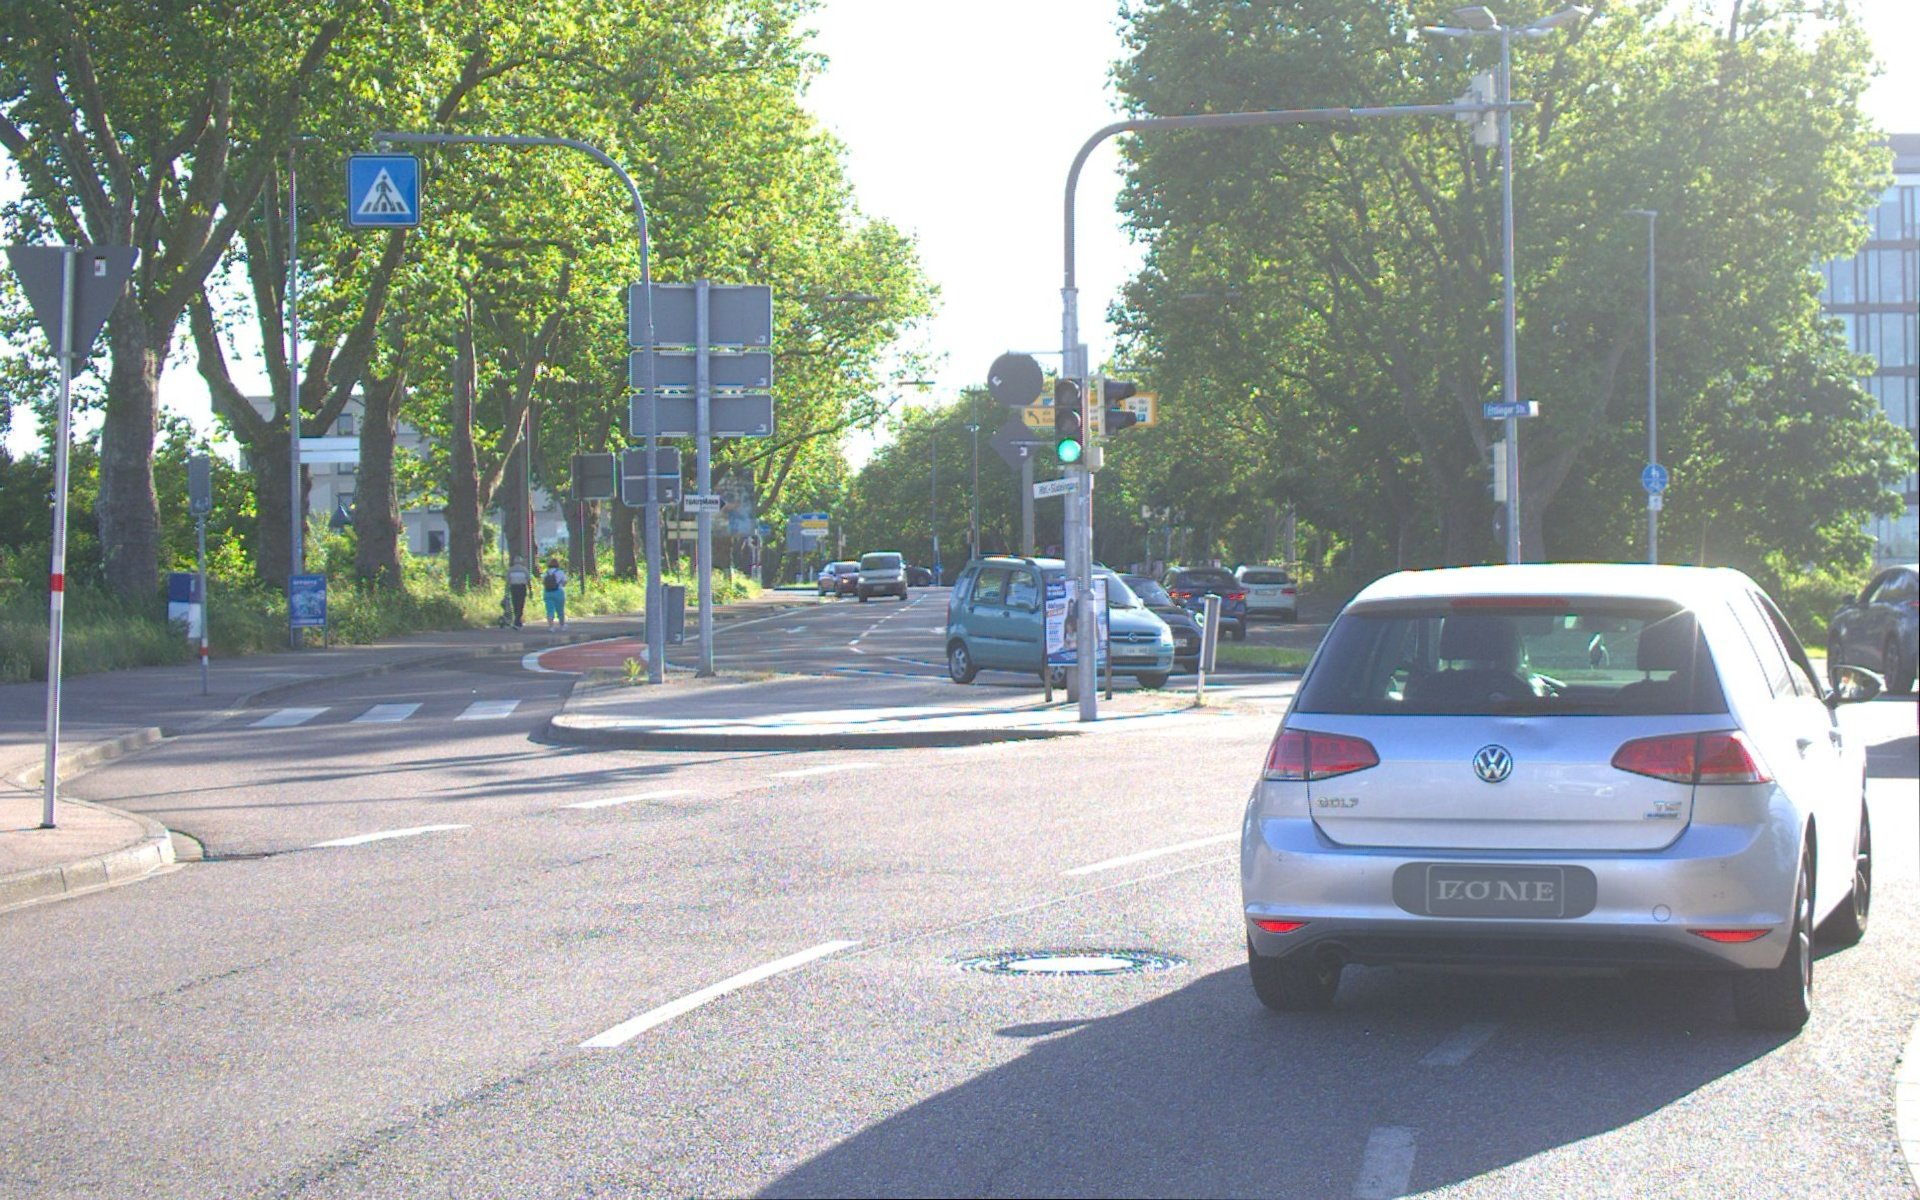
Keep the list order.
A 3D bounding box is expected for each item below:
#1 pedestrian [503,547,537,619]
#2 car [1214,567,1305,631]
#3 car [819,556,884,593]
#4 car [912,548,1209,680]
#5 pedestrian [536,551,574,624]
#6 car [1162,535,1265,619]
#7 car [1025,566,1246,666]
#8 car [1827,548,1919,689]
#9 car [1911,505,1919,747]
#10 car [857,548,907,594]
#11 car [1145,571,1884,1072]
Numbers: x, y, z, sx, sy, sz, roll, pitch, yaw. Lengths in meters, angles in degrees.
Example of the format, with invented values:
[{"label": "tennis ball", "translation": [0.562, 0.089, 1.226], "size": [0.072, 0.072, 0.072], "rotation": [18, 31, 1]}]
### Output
[{"label": "pedestrian", "translation": [-9.701, -0.382, 75.788], "size": [0.663, 1.581, 0.631], "rotation": [0, 0, 2]}, {"label": "car", "translation": [7.868, -0.031, 90.603], "size": [1.853, 1.644, 4.266], "rotation": [0, 0, -3]}, {"label": "car", "translation": [-4.783, -1.134, 151.385], "size": [1.853, 1.593, 4.326], "rotation": [0, 1, -16]}, {"label": "car", "translation": [1.254, 0.160, 44.699], "size": [1.914, 1.630, 4.121], "rotation": [0, 0, -31]}, {"label": "pedestrian", "translation": [-8.888, -0.280, 75.462], "size": [0.728, 1.586, 0.804], "rotation": [0, 0, 2]}, {"label": "car", "translation": [5.403, -0.493, 73.750], "size": [1.853, 1.737, 4.266], "rotation": [0, 0, -1]}, {"label": "car", "translation": [2.565, 0.216, 51.145], "size": [1.902, 1.422, 3.938], "rotation": [0, 0, -20]}, {"label": "car", "translation": [12.280, 0.203, 43.677], "size": [1.943, 1.707, 4.199], "rotation": [0, 0, 7]}, {"label": "car", "translation": [9.139, 0.192, 28.634], "size": [2.114, 1.881, 4.808], "rotation": [0, 0, 18]}, {"label": "car", "translation": [-2.959, -1.101, 130.832], "size": [1.853, 1.737, 4.266], "rotation": [0, 0, -1]}, {"label": "car", "translation": [2.094, 0.614, 11.933], "size": [1.972, 1.422, 3.933], "rotation": [0, 0, 18]}]
